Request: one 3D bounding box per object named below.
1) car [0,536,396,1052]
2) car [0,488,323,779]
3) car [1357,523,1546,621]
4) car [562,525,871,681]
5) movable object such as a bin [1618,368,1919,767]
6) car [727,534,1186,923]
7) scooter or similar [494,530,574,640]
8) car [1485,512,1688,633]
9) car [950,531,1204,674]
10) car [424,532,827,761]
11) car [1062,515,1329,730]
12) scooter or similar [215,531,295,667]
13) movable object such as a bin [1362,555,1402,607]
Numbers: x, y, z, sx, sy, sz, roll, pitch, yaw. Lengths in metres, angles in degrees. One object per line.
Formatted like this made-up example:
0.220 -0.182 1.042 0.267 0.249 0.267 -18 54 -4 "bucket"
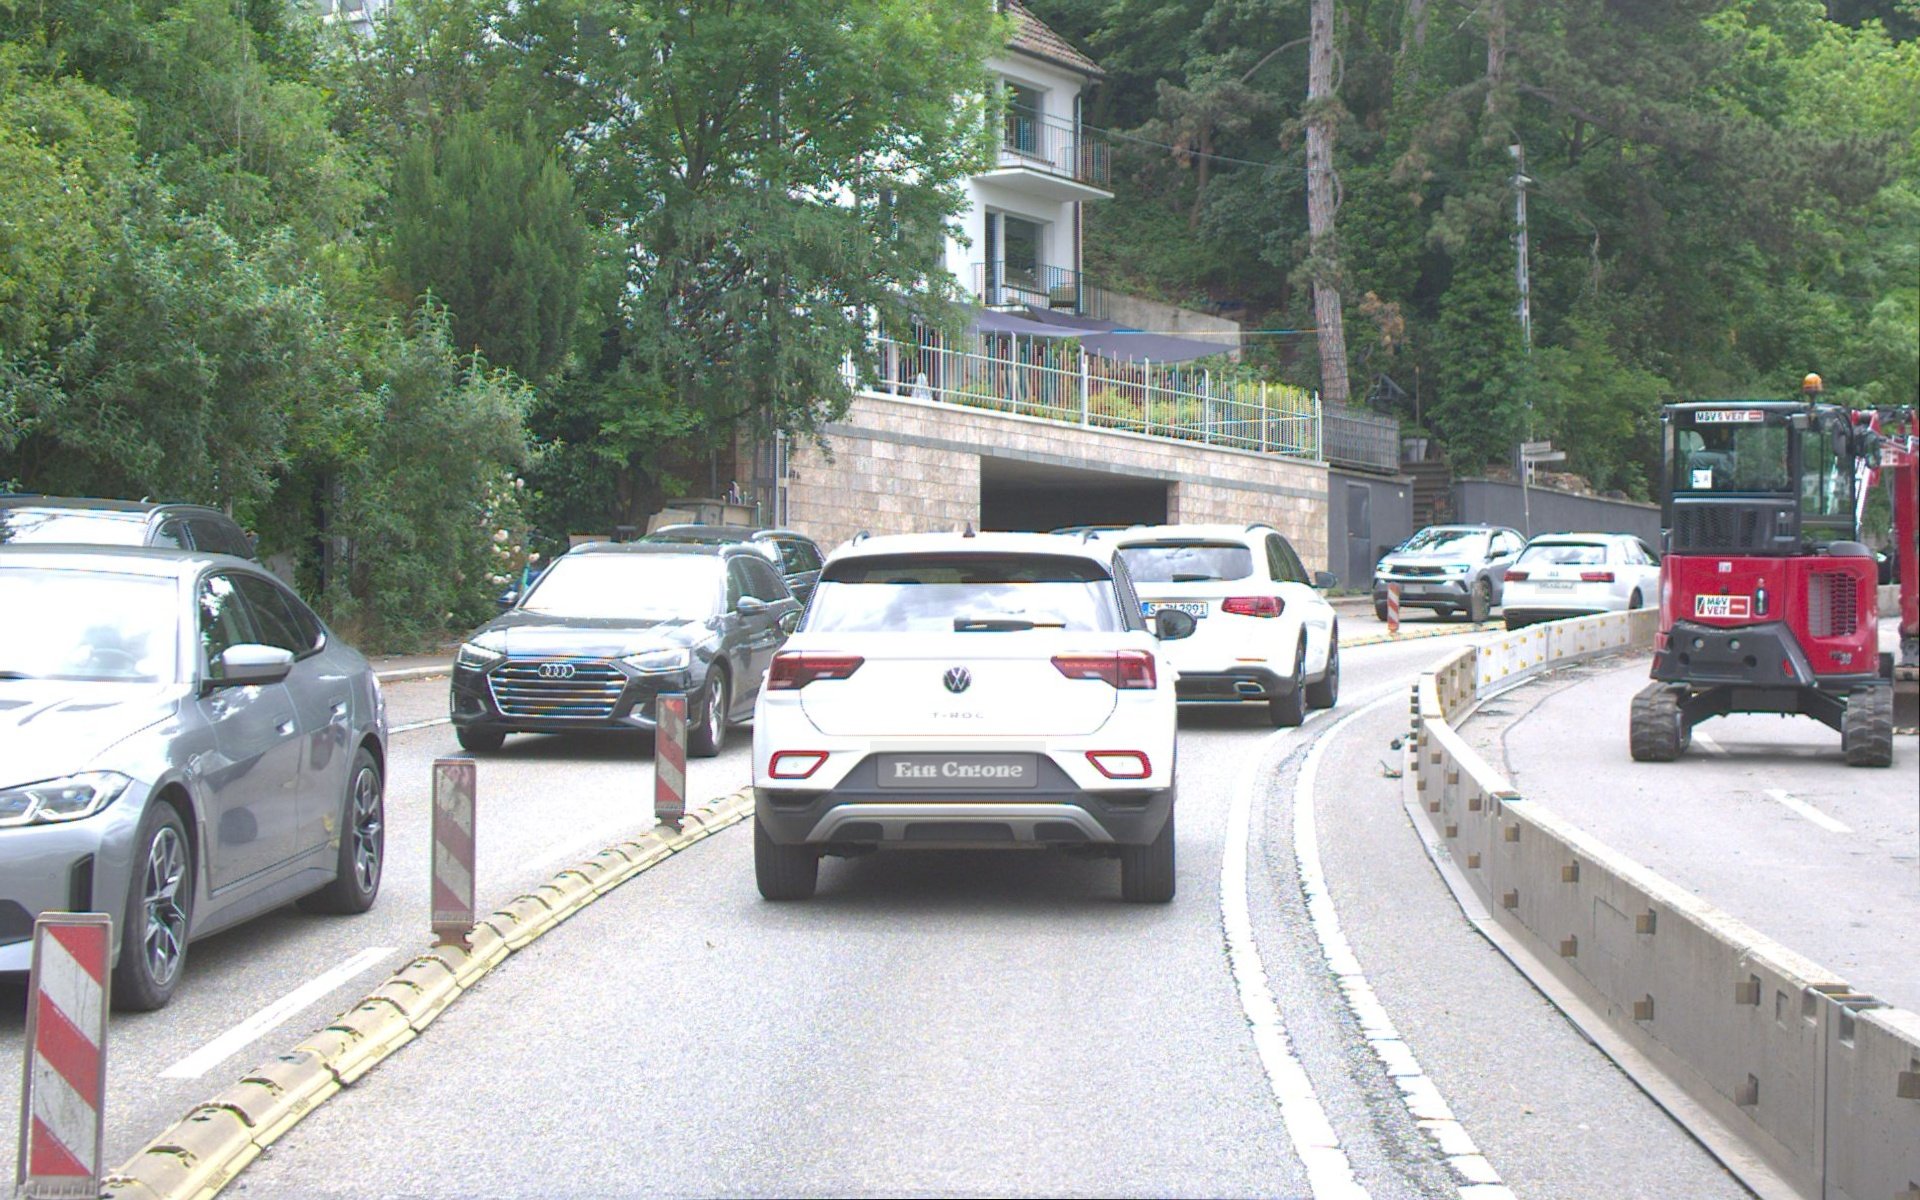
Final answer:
-3.337 0.522 12.167 1.795 1.477 4.328 2 1 2 "car"
-5.444 0.130 21.352 1.687 1.600 4.185 3 1 7 "car"
8.024 -0.478 55.872 1.770 1.512 4.019 2 2 28 "car"
-2.489 -0.009 36.417 1.737 1.446 4.680 3 2 15 "car"
6.190 -0.277 25.470 2.213 2.653 4.941 1 1 15 "movable object such as a bin"
0.070 0.475 15.642 1.810 1.526 4.000 0 1 2 "car"
-4.879 -0.174 39.370 0.416 1.228 1.120 3 2 18 "scooter or similar"
9.118 -0.425 49.801 1.812 1.657 3.994 -1 1 27 "car"
1.441 -0.016 40.559 1.769 1.562 4.225 1 2 20 "car"
-2.303 0.258 24.849 1.796 1.441 4.361 1 2 10 "car"
2.046 0.140 28.830 1.810 1.657 3.999 -1 1 10 "car"
-6.488 -0.018 31.650 0.349 1.209 1.046 3 1 8 "scooter or similar"
7.862 -0.356 64.047 0.550 0.973 0.509 0 1 33 "movable object such as a bin"
